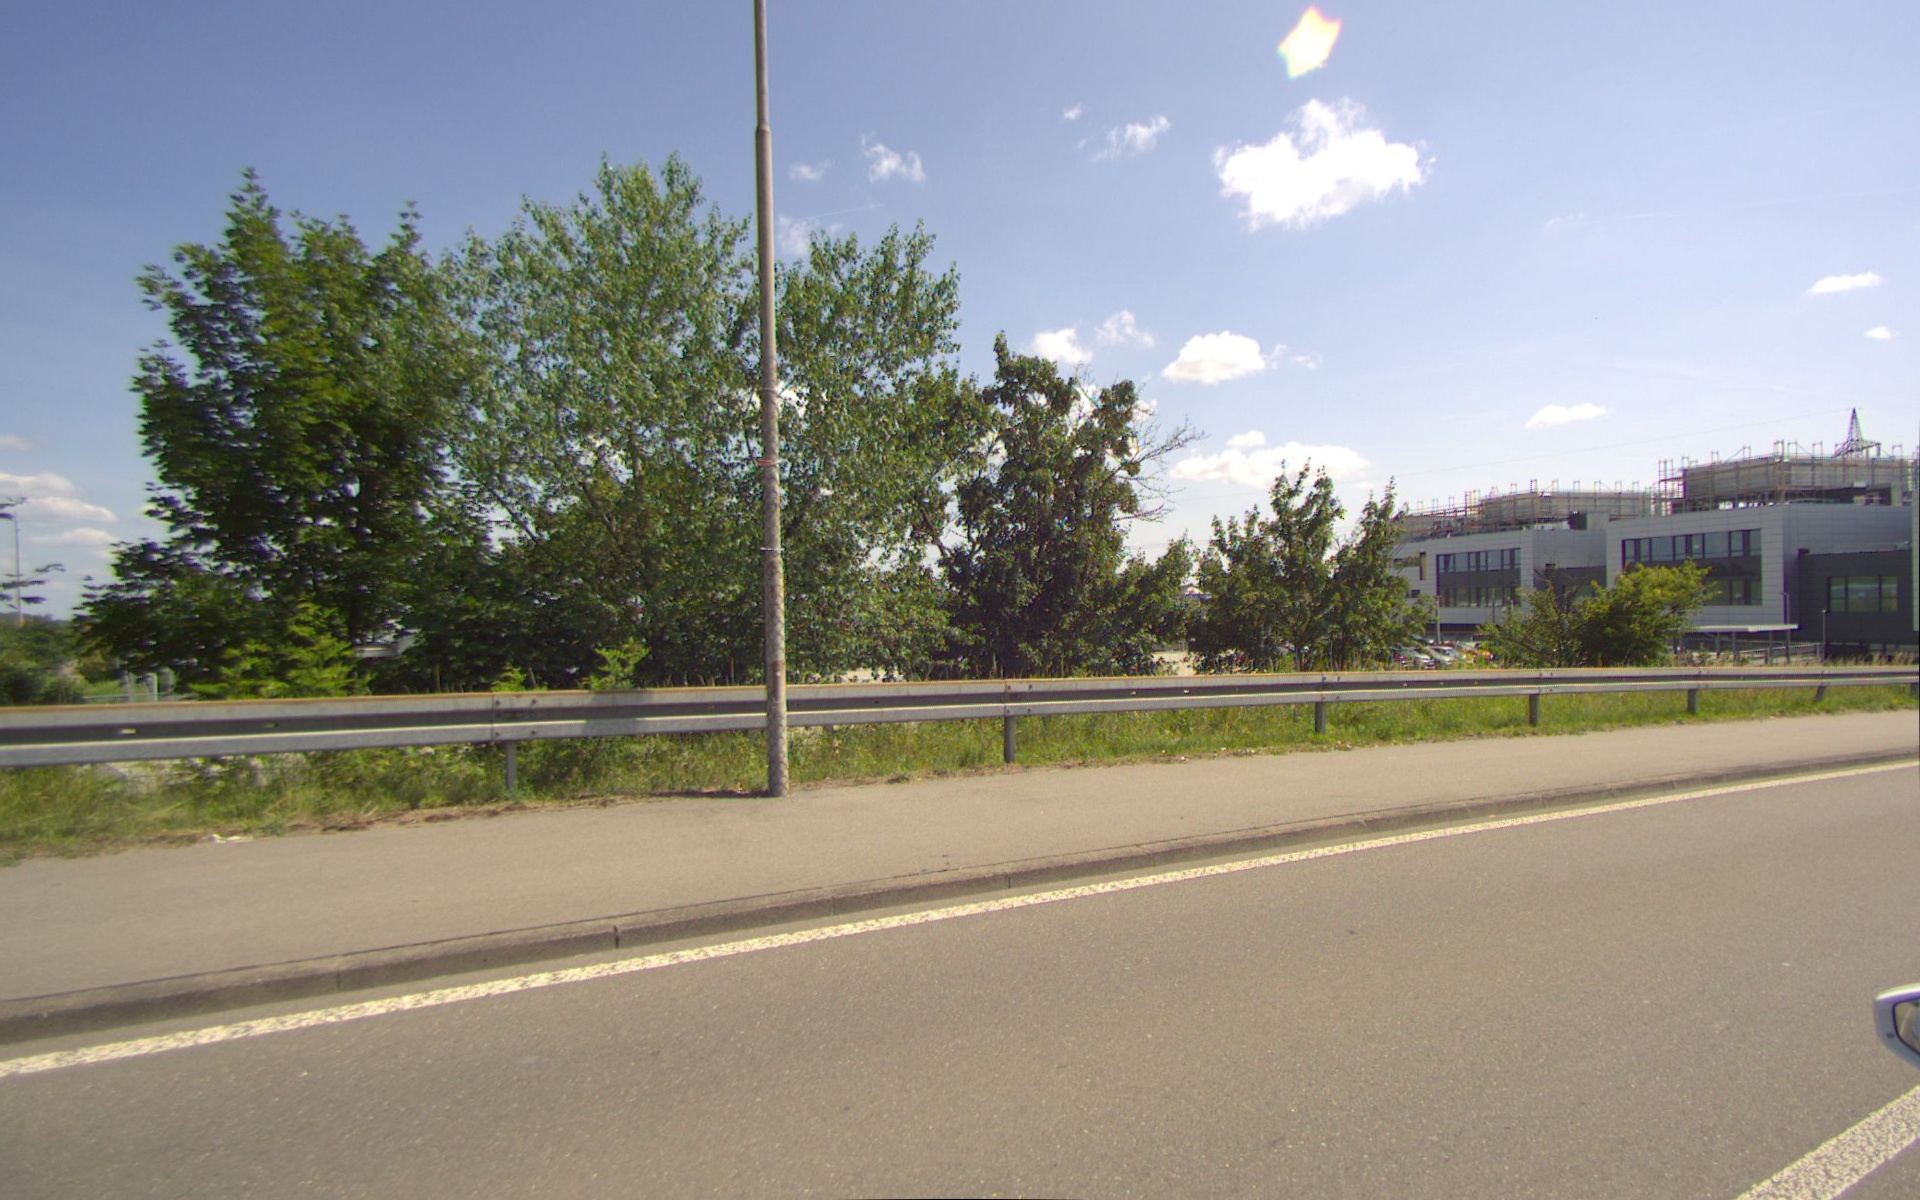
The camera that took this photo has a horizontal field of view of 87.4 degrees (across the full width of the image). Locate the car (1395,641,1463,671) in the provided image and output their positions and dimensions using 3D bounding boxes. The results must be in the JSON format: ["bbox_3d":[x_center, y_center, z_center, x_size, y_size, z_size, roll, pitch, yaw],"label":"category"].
[{"bbox_3d":[32.860,3.930,70.478,1.976,2.040,3.971,2,-3,-29],"label":"car"}]

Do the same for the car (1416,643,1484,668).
[{"bbox_3d":[34.996,3.957,71.853,1.976,1.706,3.971,2,-3,-29],"label":"car"}]

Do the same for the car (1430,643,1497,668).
[{"bbox_3d":[36.771,4.021,73.458,1.976,1.731,3.971,2,-3,-29],"label":"car"}]

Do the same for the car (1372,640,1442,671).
[{"bbox_3d":[30.796,3.789,69.260,1.975,2.040,3.971,-1,-2,-29],"label":"car"}]

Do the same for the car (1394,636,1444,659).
[{"bbox_3d":[44.578,4.583,97.511,1.980,2.040,3.961,1,0,-35],"label":"car"}]

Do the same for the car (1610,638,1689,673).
[{"bbox_3d":[46.095,3.676,67.244,1.940,2.041,3.962,-2,2,-34],"label":"car"}]

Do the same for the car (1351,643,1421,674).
[{"bbox_3d":[28.805,3.950,68.036,1.976,2.040,3.971,2,-3,-29],"label":"car"}]
